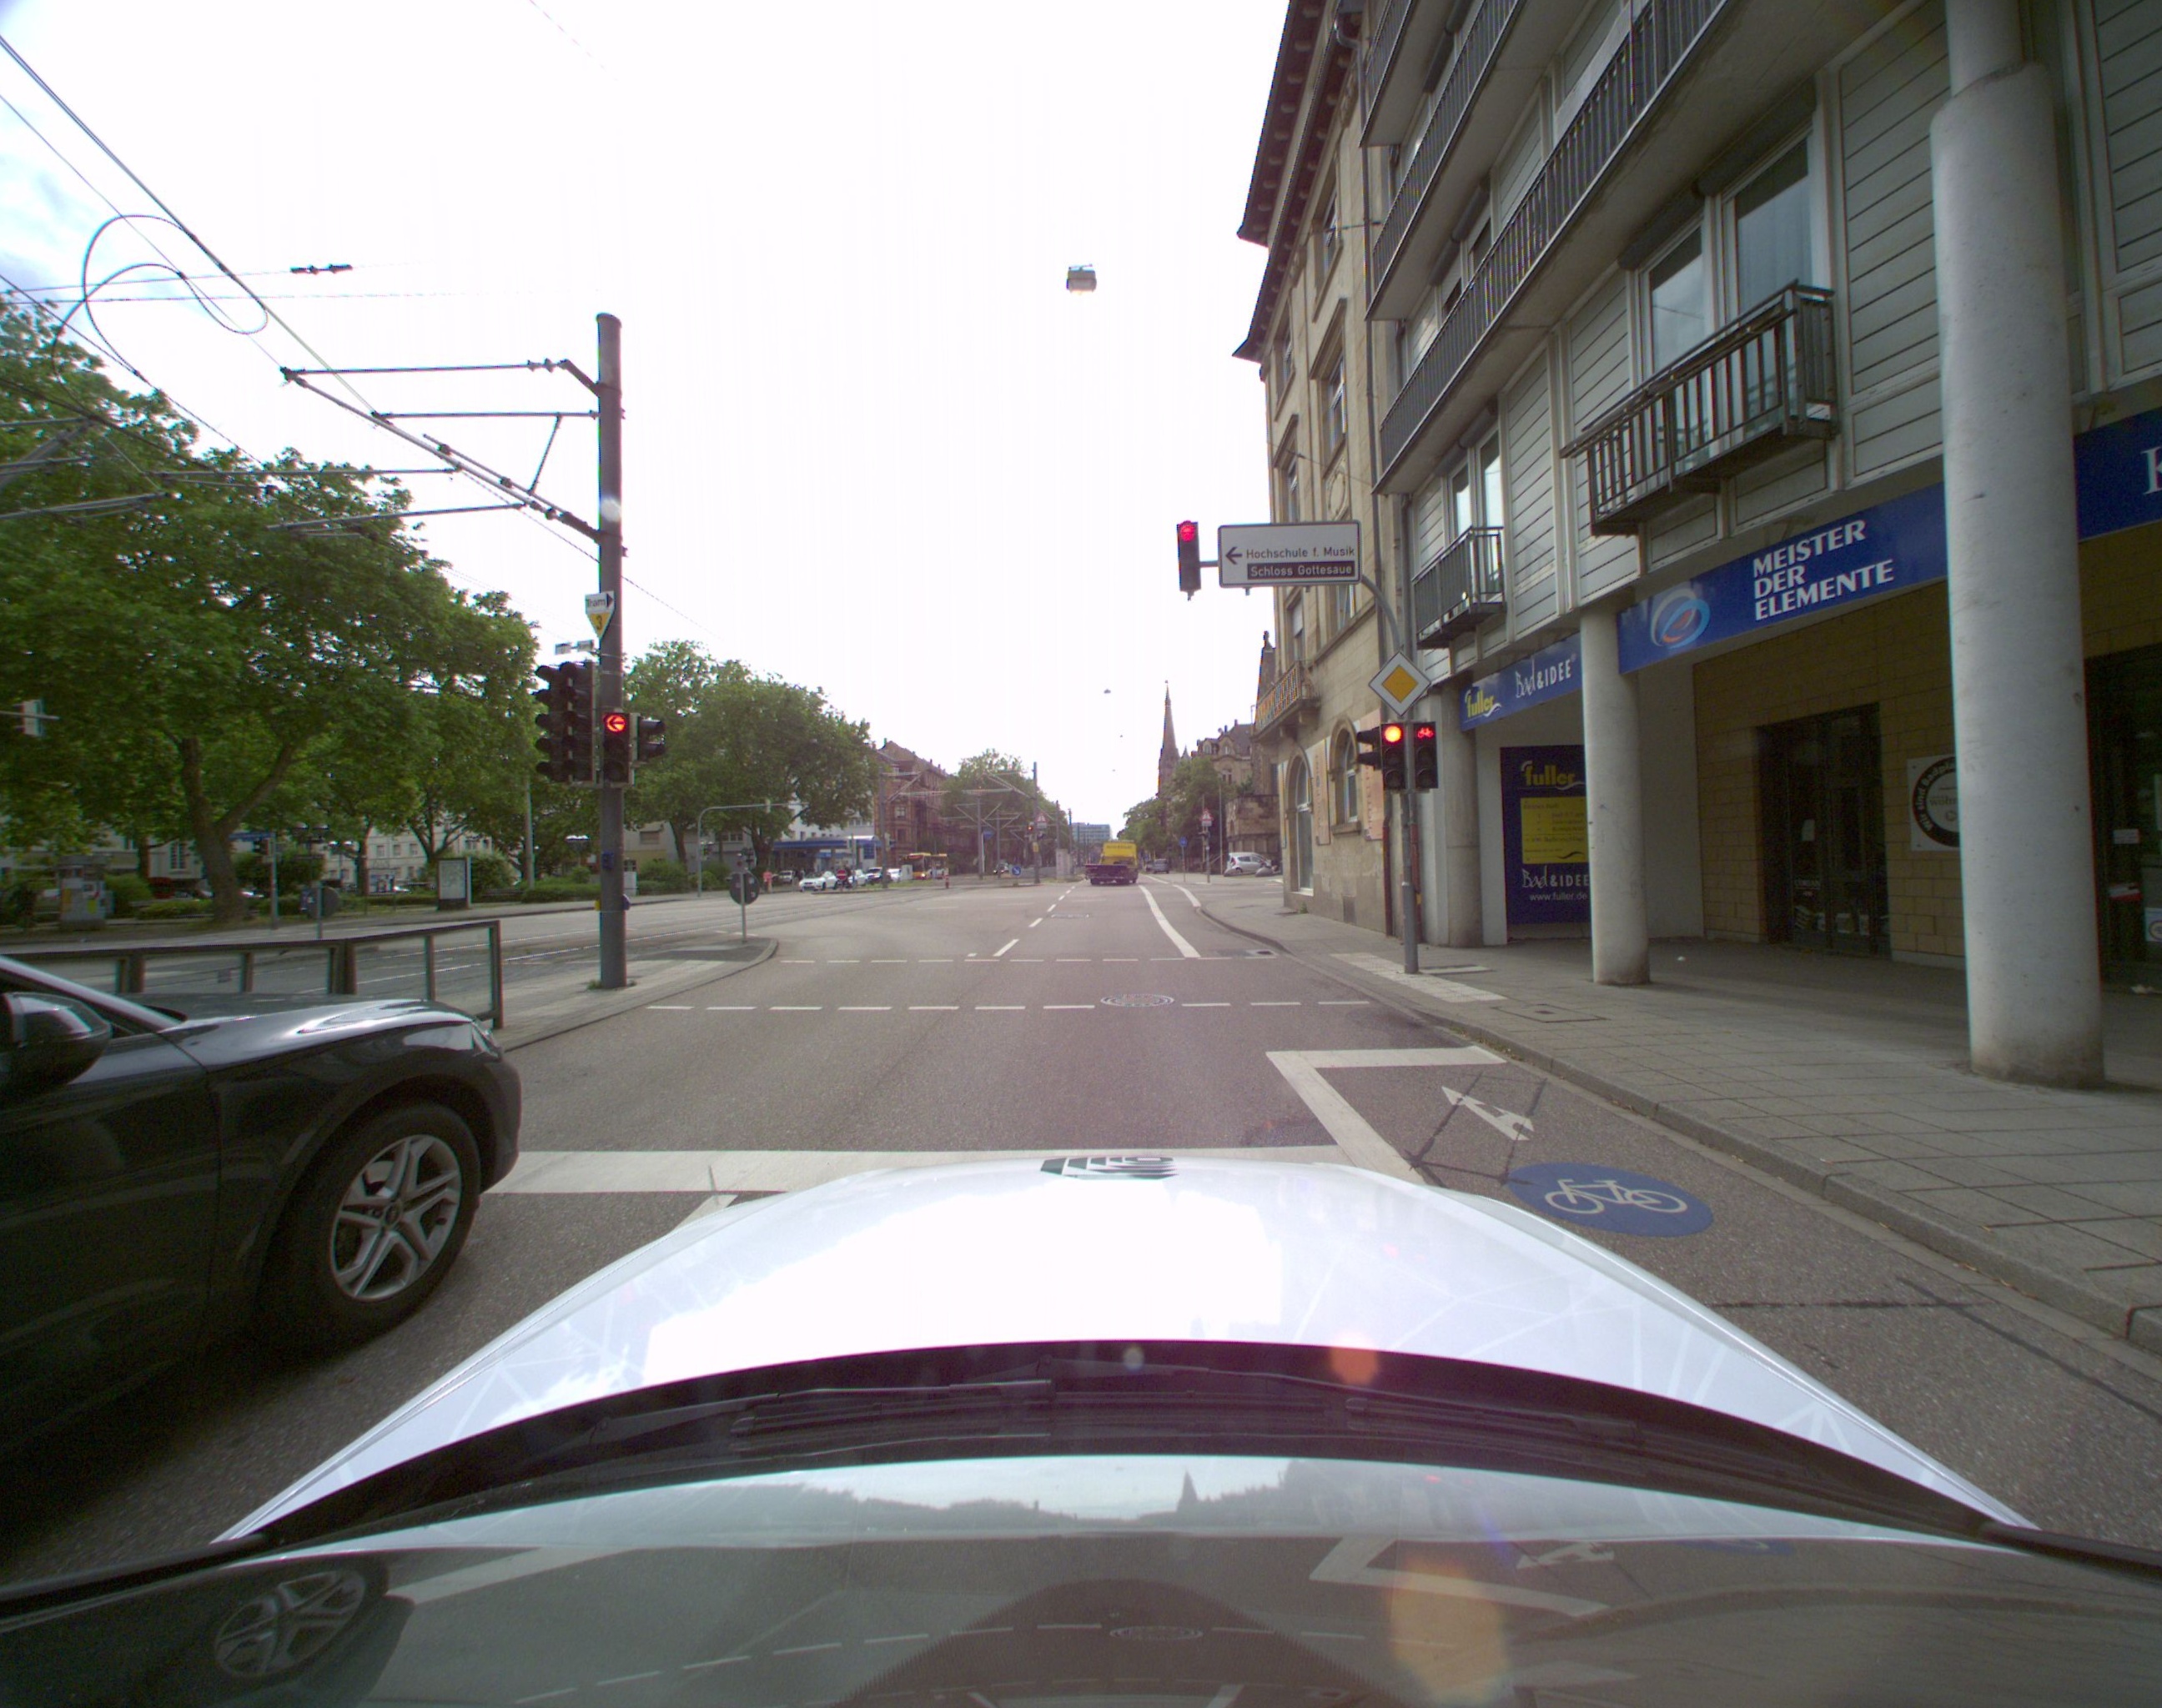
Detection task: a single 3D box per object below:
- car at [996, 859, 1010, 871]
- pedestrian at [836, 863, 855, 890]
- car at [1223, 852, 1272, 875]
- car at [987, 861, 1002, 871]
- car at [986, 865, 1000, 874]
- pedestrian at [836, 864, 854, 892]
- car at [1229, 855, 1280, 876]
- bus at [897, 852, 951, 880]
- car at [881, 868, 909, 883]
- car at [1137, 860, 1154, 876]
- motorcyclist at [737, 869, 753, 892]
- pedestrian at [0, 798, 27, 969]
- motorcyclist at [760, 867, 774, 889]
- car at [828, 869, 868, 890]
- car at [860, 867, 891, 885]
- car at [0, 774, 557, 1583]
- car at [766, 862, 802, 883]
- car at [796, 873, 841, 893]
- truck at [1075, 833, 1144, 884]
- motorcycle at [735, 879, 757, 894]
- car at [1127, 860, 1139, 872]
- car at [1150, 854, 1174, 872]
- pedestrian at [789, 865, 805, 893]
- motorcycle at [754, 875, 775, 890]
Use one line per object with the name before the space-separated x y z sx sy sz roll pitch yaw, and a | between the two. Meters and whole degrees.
car | -13.594 1.945 142.103 1.986 2.013 4.002 0 0 2
pedestrian | -15.128 1.457 52.254 0.867 1.713 0.876 -2 -1 3
car | 13.929 0.788 68.224 3.699 1.855 2.001 0 -1 2
car | -15.050 2.056 142.078 1.986 1.610 4.001 0 -1 2
car | -14.259 2.523 131.923 1.649 1.321 3.641 0 -1 3
pedestrian | -14.968 1.503 51.605 0.863 1.713 0.692 -2 -1 5
car | 13.753 0.905 64.809 3.699 1.563 2.001 0 -1 2
bus | -17.998 1.331 94.379 3.217 3.035 12.323 0 0 4
car | -18.156 2.098 79.627 1.649 1.321 3.641 0 -1 3
car | 7.893 1.694 99.581 1.985 2.014 4.004 0 -1 4
motorcyclist | -22.685 1.807 54.977 0.617 1.520 0.874 -1 -1 2
pedestrian | -12.686 0.340 9.171 0.733 1.950 0.666 0 -1 1
motorcyclist | -21.601 1.652 56.036 0.617 1.520 0.874 -1 -1 2
car | -18.842 2.054 66.063 1.986 1.594 4.001 0 -1 2
car | -18.328 1.927 72.706 1.649 1.478 3.641 0 -1 3
car | -3.067 0.658 1.216 1.727 1.637 4.228 0 -1 2
car | -29.742 1.809 81.749 1.986 2.014 4.001 -2 0 2
car | -19.163 2.075 59.532 1.739 1.321 4.079 0 0 3
truck | 1.977 0.277 50.691 3.037 2.769 9.840 -2 0 9
motorcycle | -22.670 2.177 55.145 0.604 0.928 1.953 -2 0 2
car | 8.698 2.049 136.168 1.986 2.014 4.001 0 -1 2
car | 8.976 0.985 89.938 1.979 1.855 4.042 -1 -1 14
pedestrian | -17.509 1.524 50.203 0.680 1.690 0.743 0 -1 6
motorcycle | -21.642 1.956 55.701 0.604 0.928 1.953 -2 0 2
